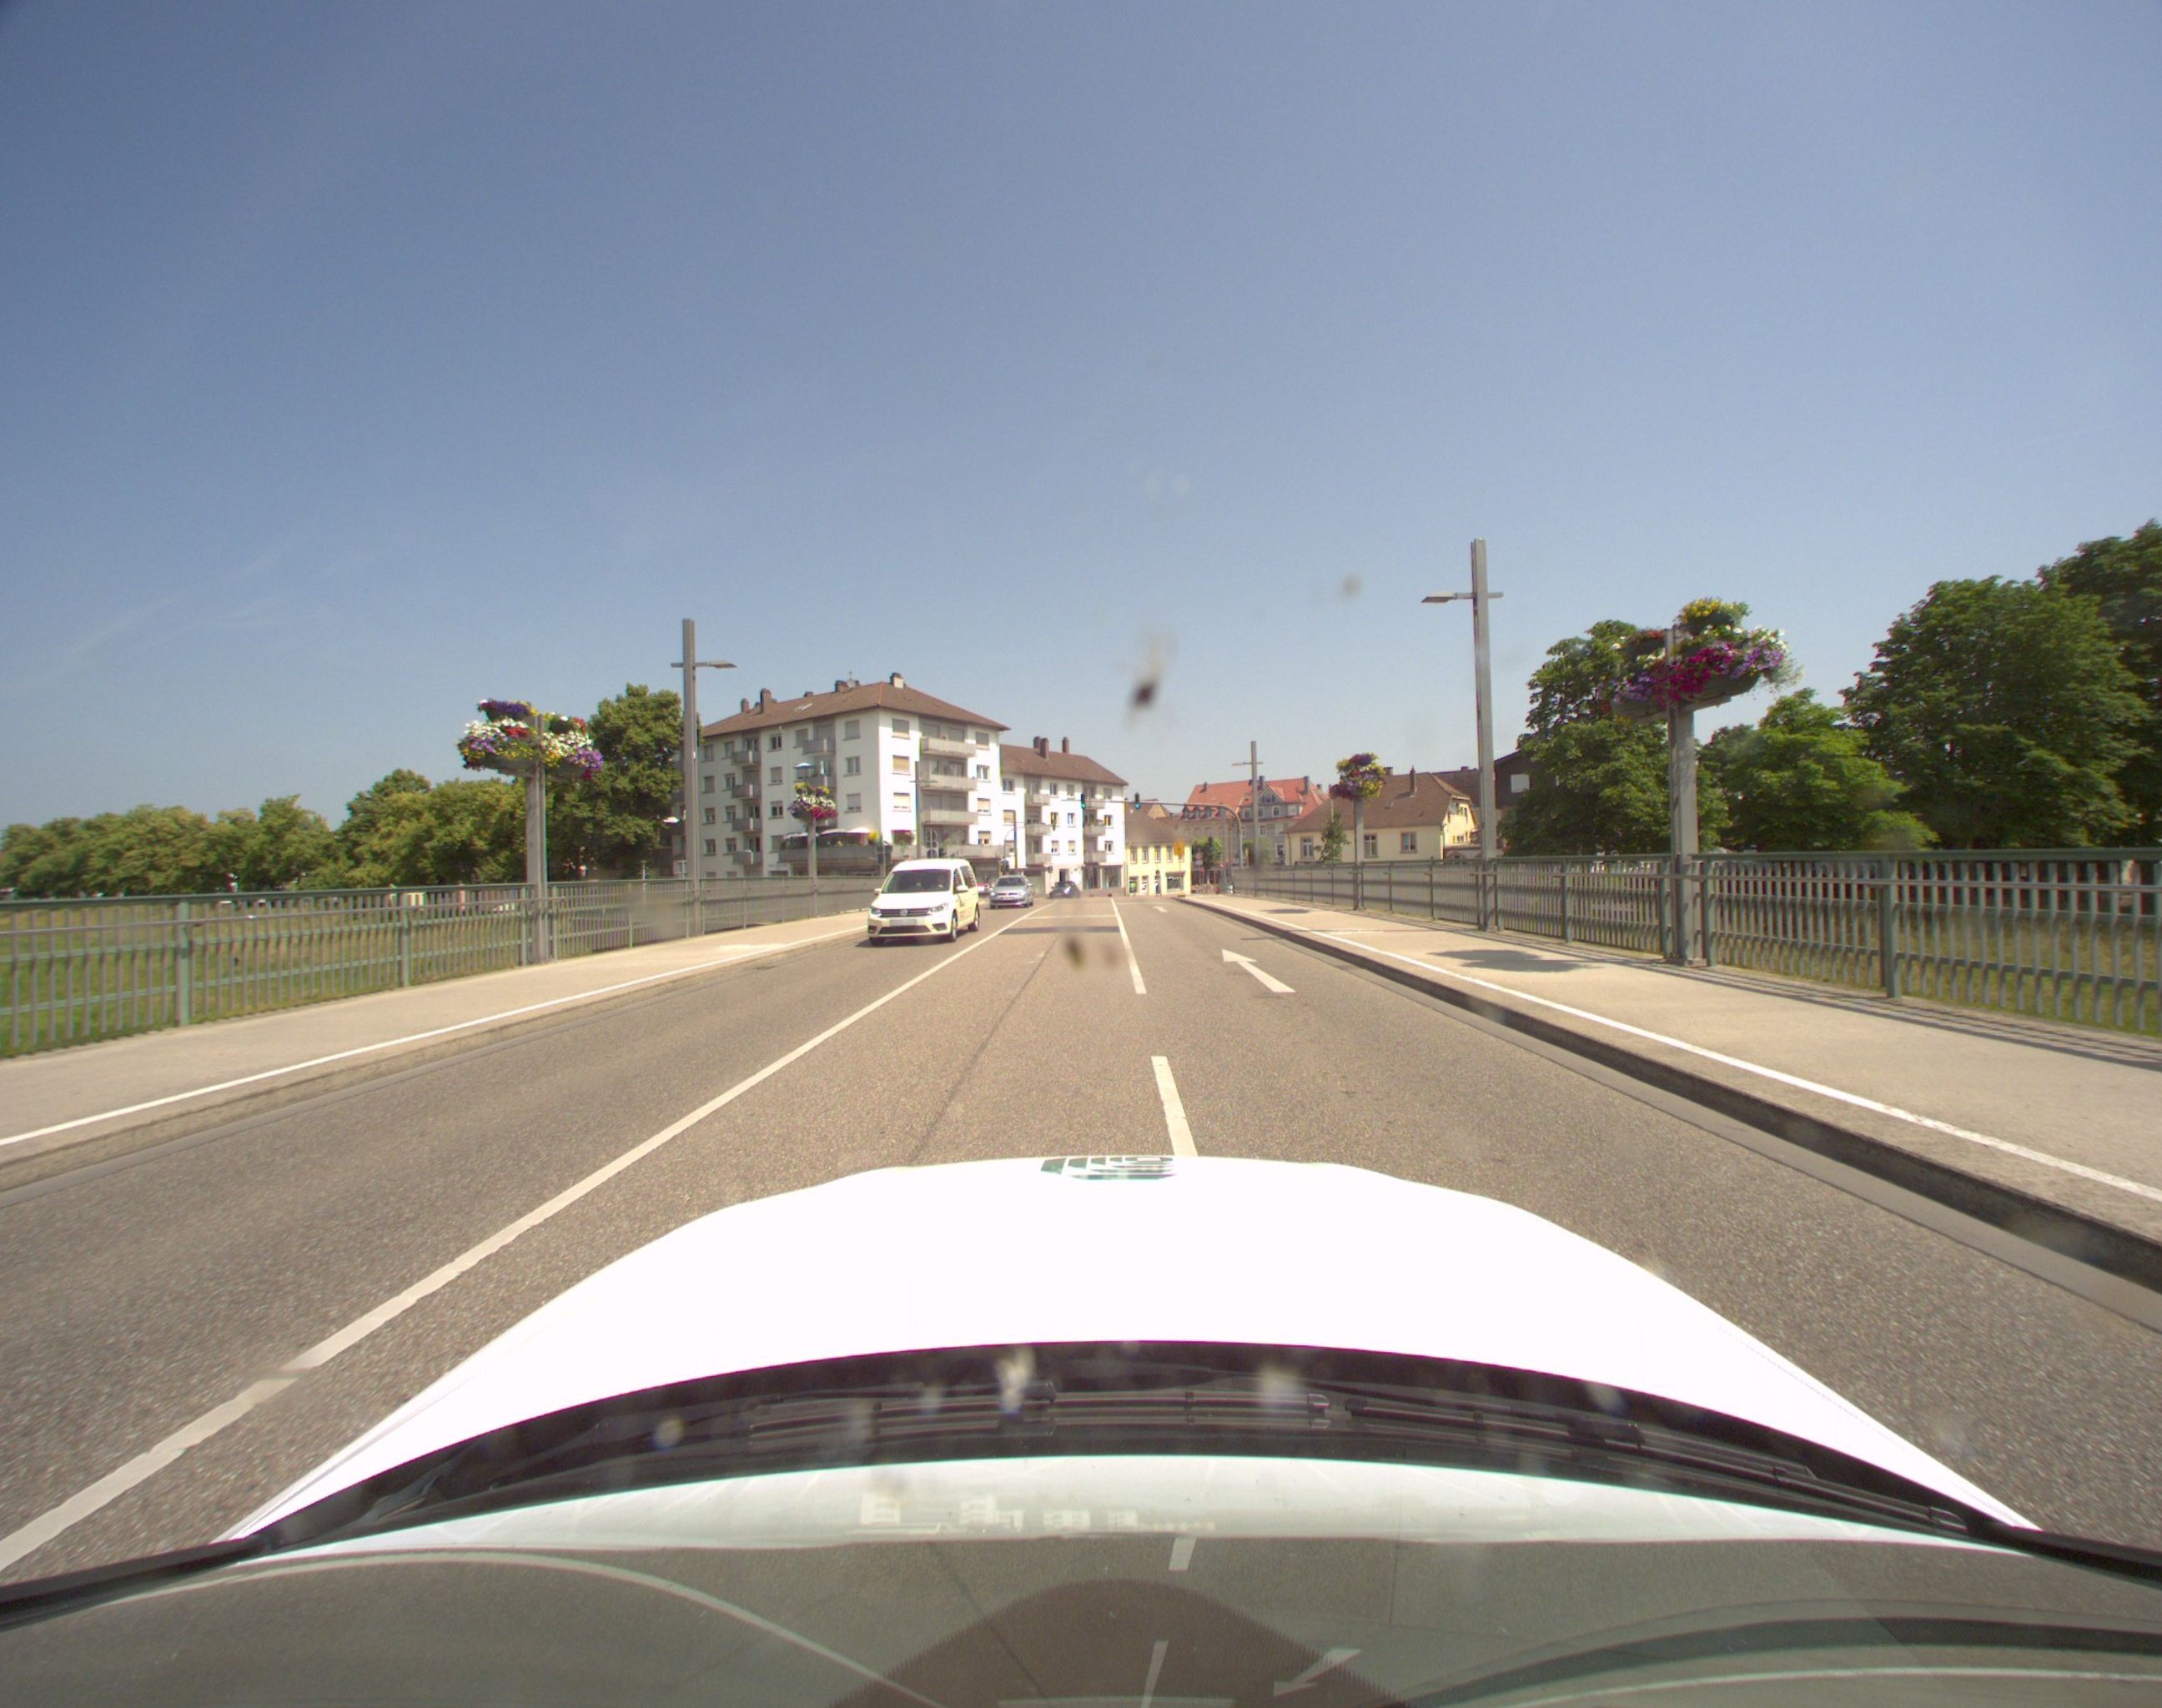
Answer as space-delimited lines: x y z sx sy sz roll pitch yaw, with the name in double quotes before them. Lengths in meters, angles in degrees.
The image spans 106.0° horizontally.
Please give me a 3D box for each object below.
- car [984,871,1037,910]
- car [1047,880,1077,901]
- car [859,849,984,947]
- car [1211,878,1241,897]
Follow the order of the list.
"car" -3.041 1.553 36.056 1.753 1.519 4.003 -2 -1 3
"car" -1.413 2.746 61.539 1.647 1.440 3.763 -2 -2 8
"car" -3.453 0.912 18.502 1.753 1.857 4.647 -3 -1 1
"car" 14.602 3.353 81.960 1.972 1.613 4.367 -2 0 23
